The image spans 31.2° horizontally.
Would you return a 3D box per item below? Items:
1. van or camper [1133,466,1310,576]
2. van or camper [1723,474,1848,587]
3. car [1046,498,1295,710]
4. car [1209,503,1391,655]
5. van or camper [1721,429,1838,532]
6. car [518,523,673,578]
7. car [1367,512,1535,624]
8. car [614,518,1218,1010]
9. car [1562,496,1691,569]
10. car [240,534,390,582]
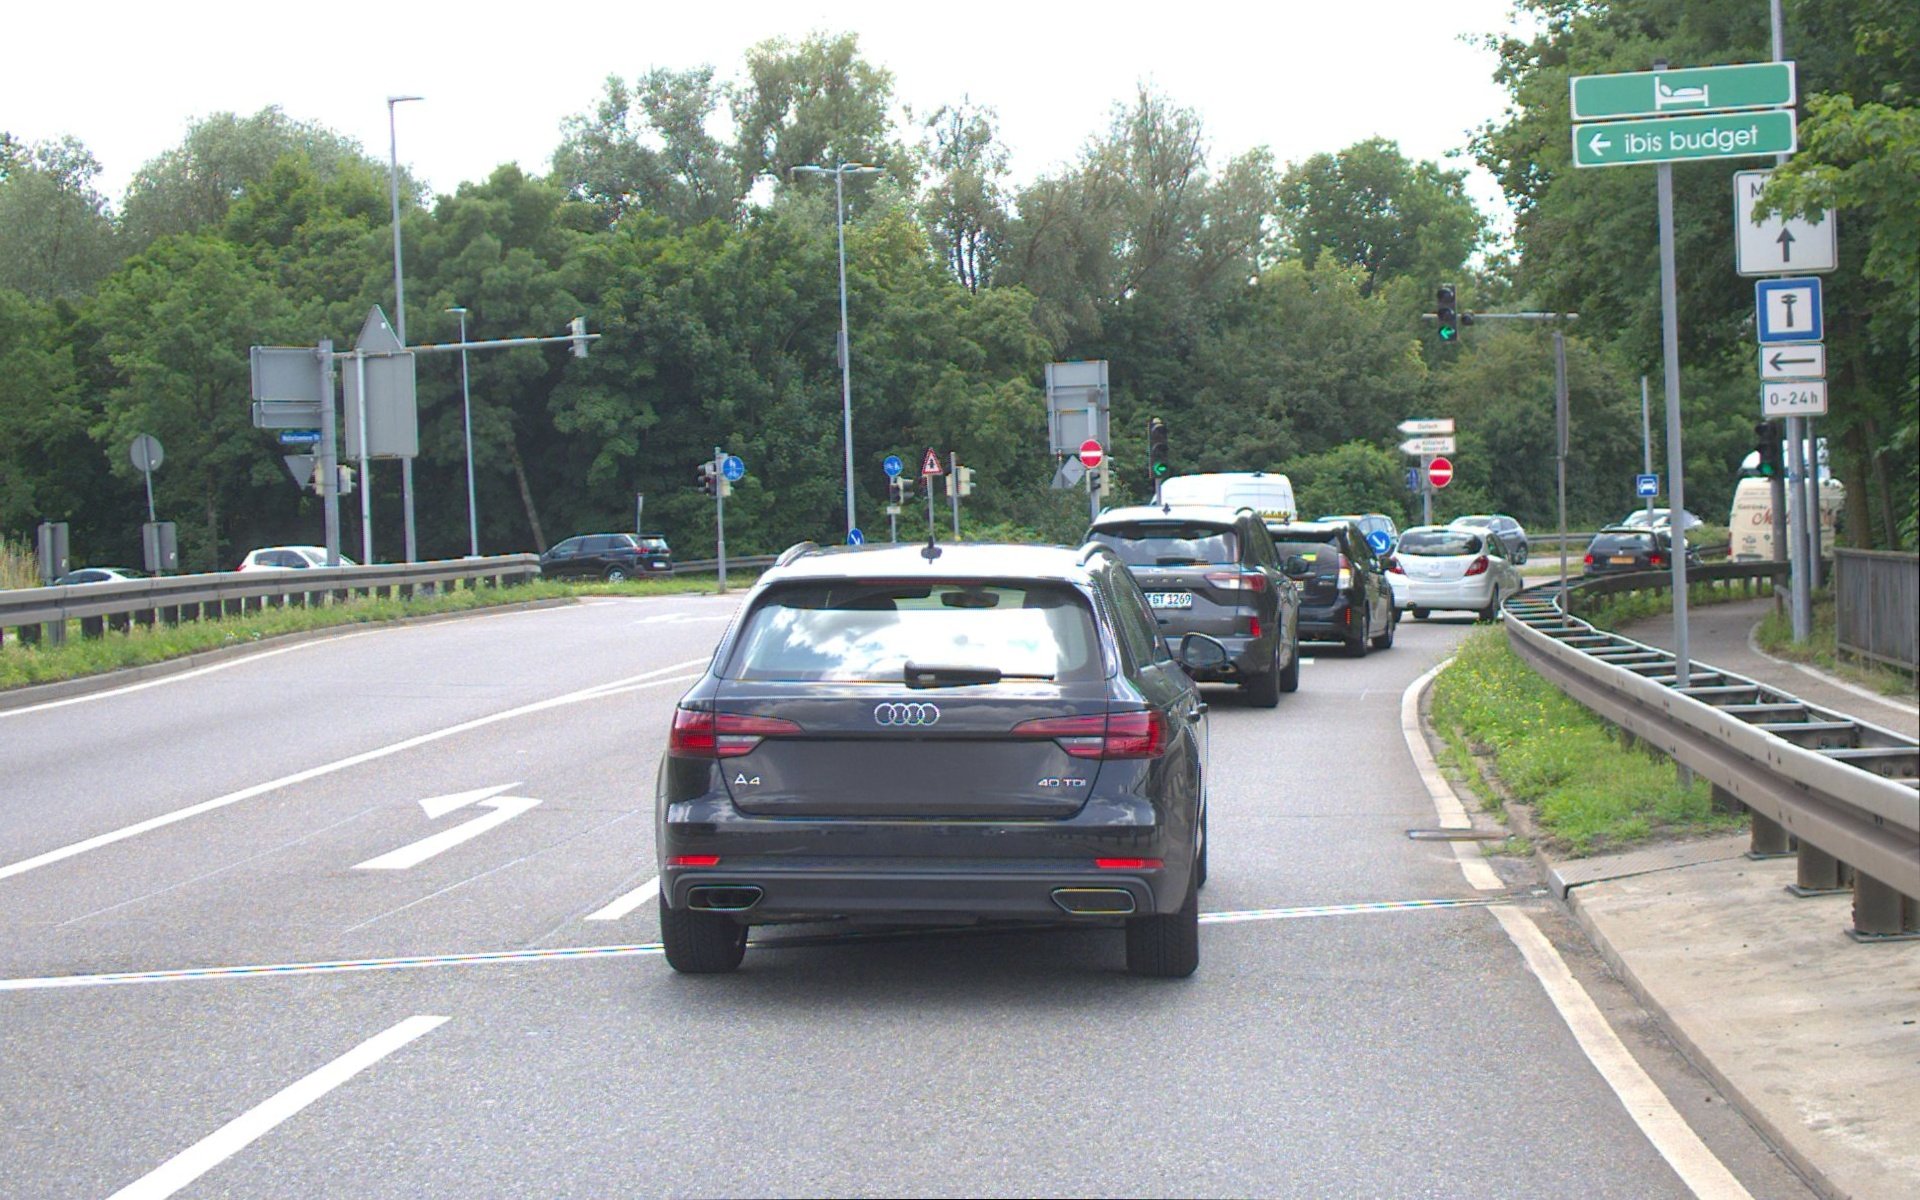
[{"bbox_3d":[5.756,-1.780,76.474,2.272,2.332,5.243,0,2,-15],"label":"van or camper"},{"bbox_3d":[19.593,-1.689,81.489,1.996,2.581,4.084,2,2,26],"label":"van or camper"},{"bbox_3d":[1.839,-0.019,28.973,1.822,1.646,3.855,1,2,7],"label":"car"},{"bbox_3d":[4.012,-0.288,40.131,1.734,1.646,3.854,1,2,11],"label":"car"},{"bbox_3d":[29.965,-4.379,125.539,2.907,3.602,8.122,2,3,22],"label":"van or camper"},{"bbox_3d":[-9.824,-1.357,92.743,3.803,1.367,1.670,1,3,20],"label":"car"},{"bbox_3d":[7.608,-0.528,52.996,1.735,1.646,3.852,0,2,21],"label":"car"},{"bbox_3d":[0.017,0.483,12.544,1.828,1.486,4.206,-1,1,4],"label":"car"},{"bbox_3d":[13.213,-1.331,68.052,1.685,1.393,3.674,0,1,25],"label":"car"},{"bbox_3d":[-15.629,-1.031,83.269,3.586,1.113,1.591,2,1,38],"label":"car"}]
